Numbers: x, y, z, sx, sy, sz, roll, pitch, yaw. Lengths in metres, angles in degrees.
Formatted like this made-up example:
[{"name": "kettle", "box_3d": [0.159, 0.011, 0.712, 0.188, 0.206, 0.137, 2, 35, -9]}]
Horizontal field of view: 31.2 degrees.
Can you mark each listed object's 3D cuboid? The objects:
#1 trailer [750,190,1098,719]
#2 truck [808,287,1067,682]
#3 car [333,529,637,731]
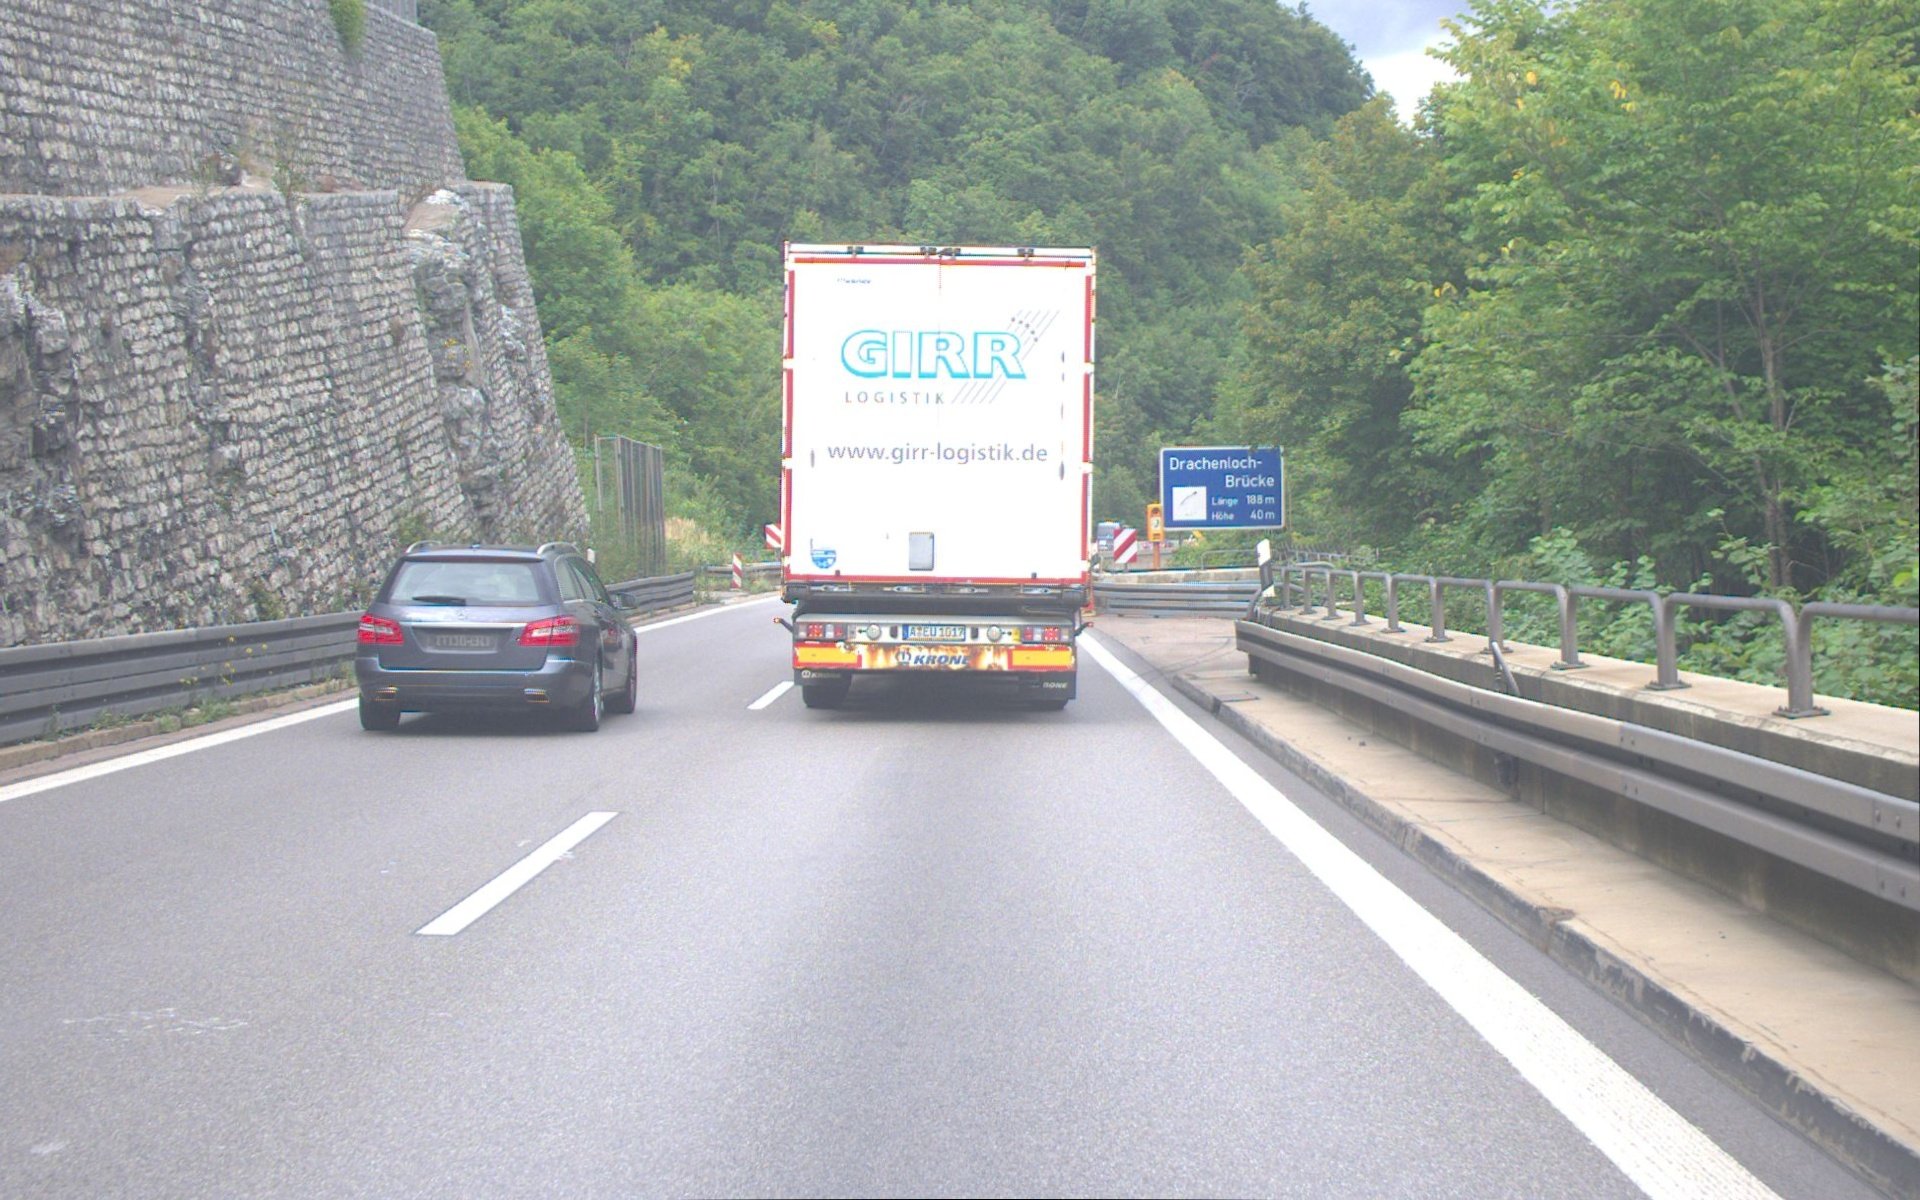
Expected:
[{"name": "trailer", "box_3d": [-0.244, -1.227, 34.033, 2.813, 4.288, 12.245, 0, 0, 0]}, {"name": "truck", "box_3d": [-0.219, -1.286, 40.518, 2.813, 4.288, 6.259, 0, 0, 1]}, {"name": "car", "box_3d": [-3.760, 0.209, 27.935, 1.883, 1.505, 4.419, 0, 0, 0]}]
